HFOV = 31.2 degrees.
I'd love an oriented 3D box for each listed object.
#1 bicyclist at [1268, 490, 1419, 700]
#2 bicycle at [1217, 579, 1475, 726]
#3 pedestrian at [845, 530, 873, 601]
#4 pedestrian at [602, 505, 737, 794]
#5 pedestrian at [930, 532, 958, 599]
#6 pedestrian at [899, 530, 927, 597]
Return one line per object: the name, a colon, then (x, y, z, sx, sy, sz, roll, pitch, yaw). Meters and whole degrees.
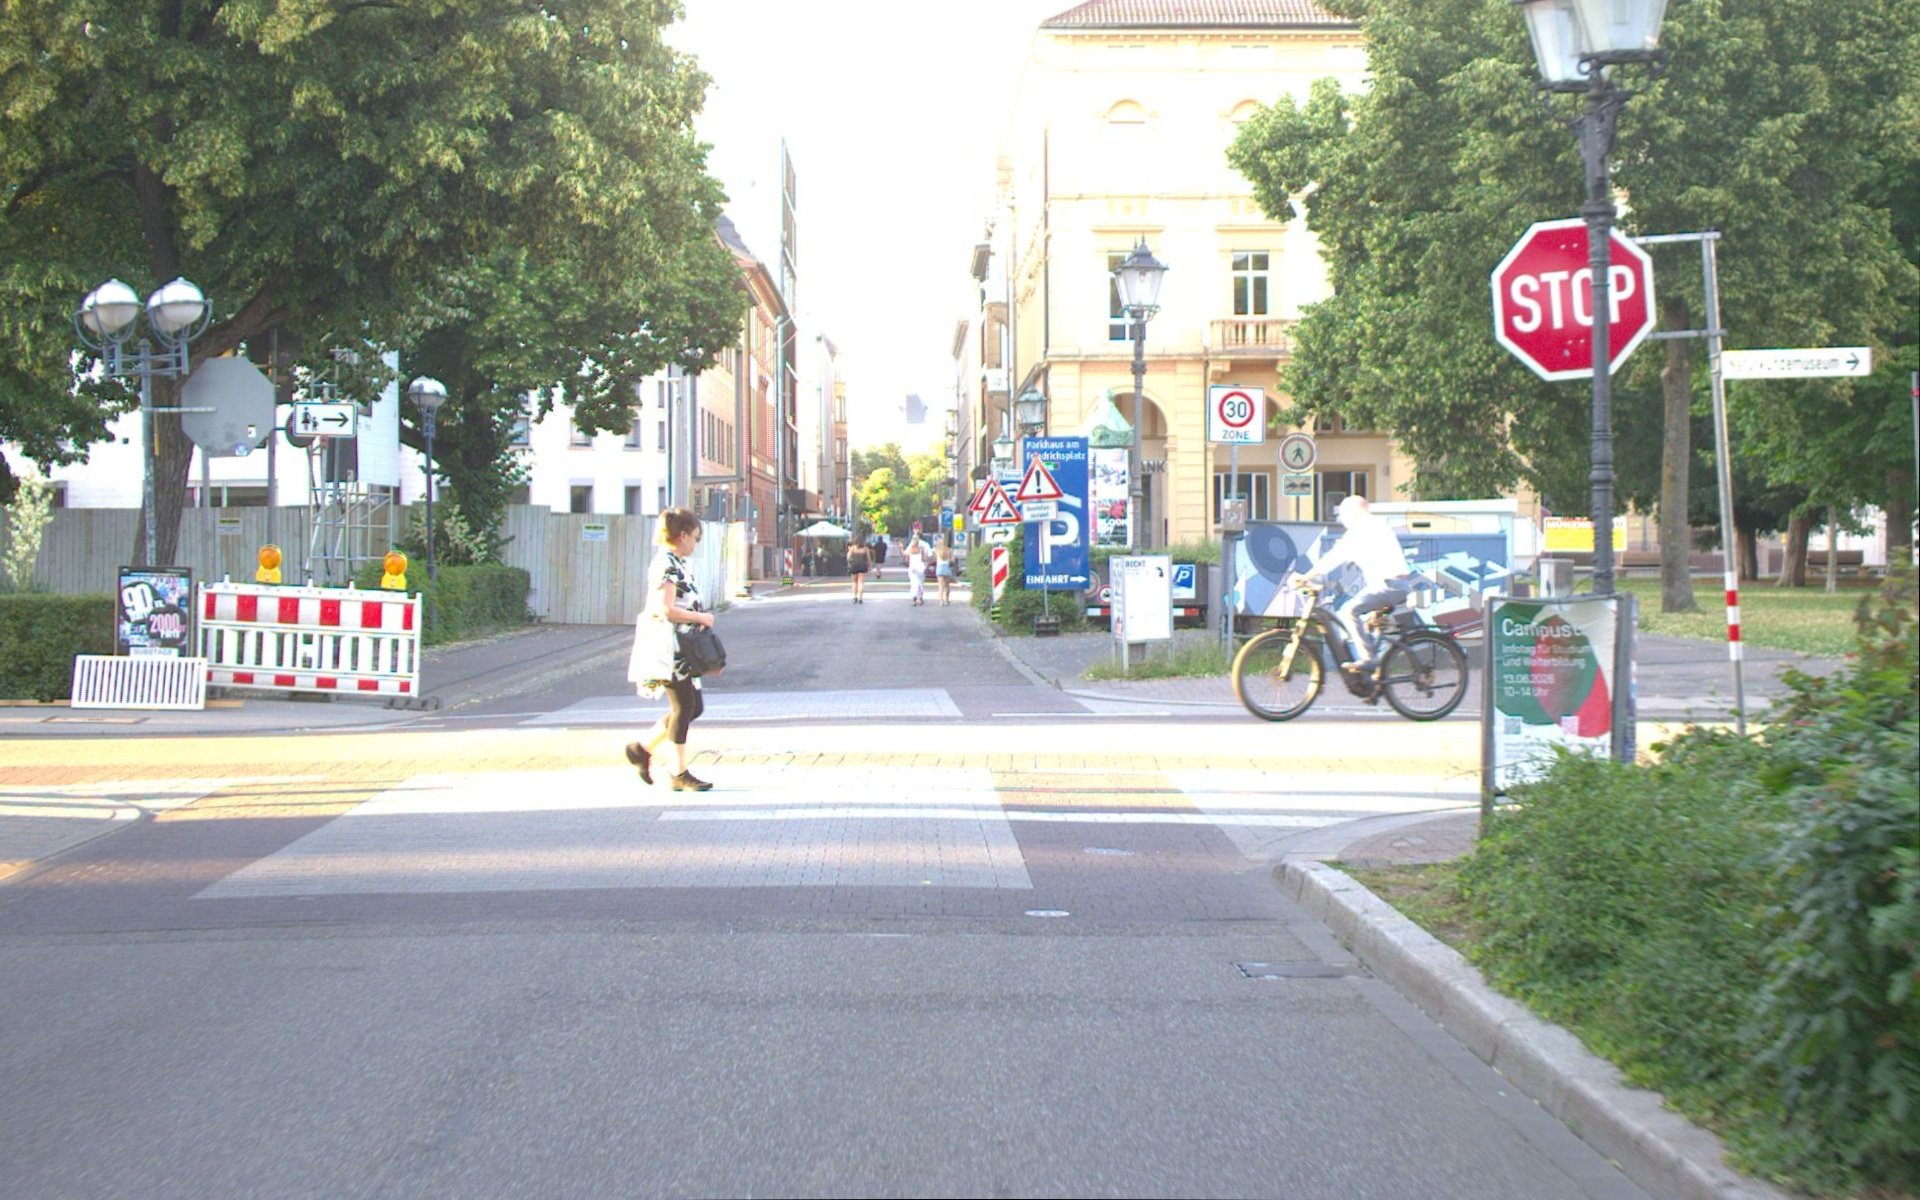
bicyclist: (3.017, -0.045, 27.110, 1.060, 1.627, 0.596, -1, 1, -8)
bicycle: (3.039, 0.404, 27.103, 1.927, 1.117, 0.596, -1, 1, -8)
pedestrian: (-2.509, -0.868, 85.608, 0.657, 1.754, 0.745, -1, 1, 0)
pedestrian: (-1.725, 0.282, 20.520, 0.734, 1.683, 0.836, -1, 1, -1)
pedestrian: (-0.389, -0.849, 84.268, 0.657, 1.611, 0.745, -1, 1, 0)
pedestrian: (-1.155, -0.900, 84.316, 0.657, 1.611, 0.745, -1, 1, 0)
